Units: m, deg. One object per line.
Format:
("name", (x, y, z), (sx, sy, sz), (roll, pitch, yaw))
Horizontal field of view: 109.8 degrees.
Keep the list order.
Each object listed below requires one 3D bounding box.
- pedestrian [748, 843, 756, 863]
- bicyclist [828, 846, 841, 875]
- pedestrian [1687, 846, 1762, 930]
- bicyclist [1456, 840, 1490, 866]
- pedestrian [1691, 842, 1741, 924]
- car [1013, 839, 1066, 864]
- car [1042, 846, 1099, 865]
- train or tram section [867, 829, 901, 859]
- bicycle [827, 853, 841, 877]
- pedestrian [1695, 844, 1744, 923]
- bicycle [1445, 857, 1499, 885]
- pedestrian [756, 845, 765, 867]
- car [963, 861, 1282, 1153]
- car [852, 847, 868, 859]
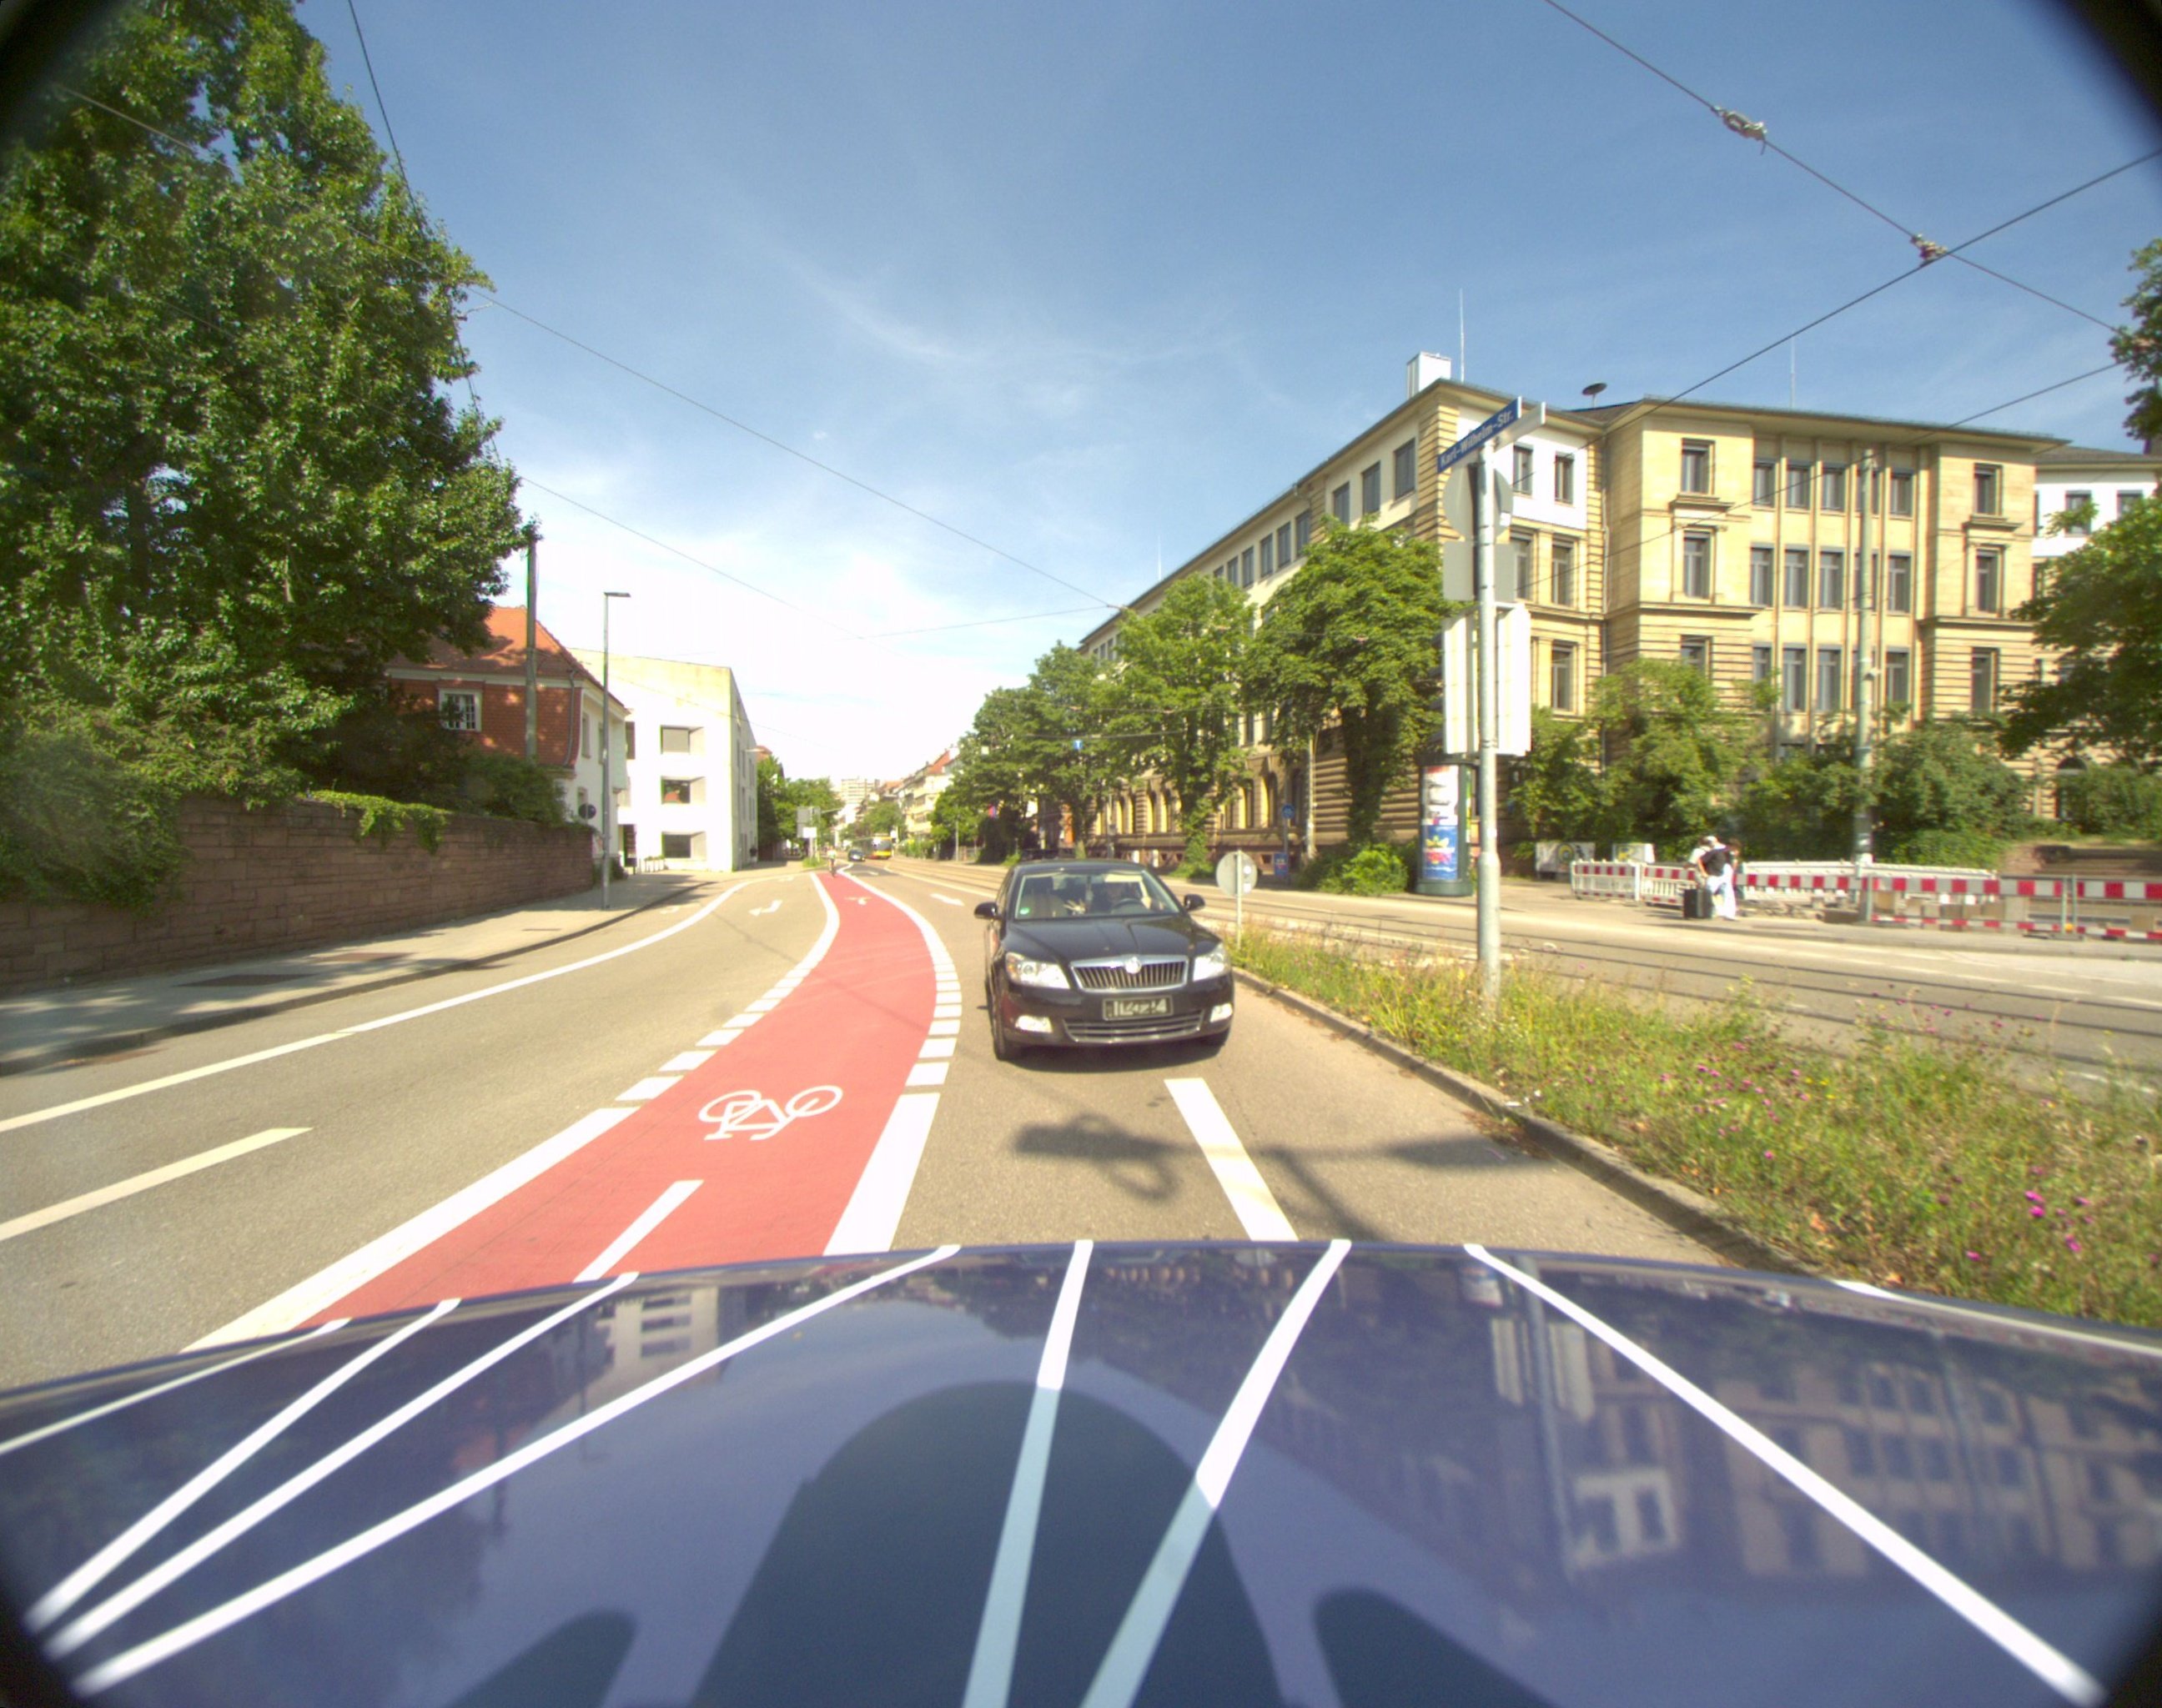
("pedestrian", (-25.666, -0.081, 59.265), (0.550, 1.559, 0.929), (-1, 1, -21))
("bicyclist", (-13.376, 0.332, 41.240), (0.589, 1.539, 0.930), (-3, 2, -17))
("pedestrian", (13.077, 0.661, 15.472), (0.938, 1.646, 0.845), (0, 1, 23))
("bicyclist", (14.183, -0.053, 27.514), (0.684, 0.922, 0.867), (-1, 1, -24))
("pedestrian", (13.856, 0.614, 16.595), (0.586, 1.740, 0.743), (-1, 2, -42))
("car", (-3.463, -0.219, 63.786), (4.004, 2.002, 1.996), (0, 1, -21))
("car", (-0.834, 0.098, 58.737), (4.004, 1.455, 1.996), (0, 1, -21))
("train or tram section", (-27.448, -1.356, 105.285), (3.219, 3.838, 14.560), (0, 1, -20))
("bicycle", (-13.349, 0.580, 41.122), (0.687, 1.215, 2.183), (0, 1, -18))
("pedestrian", (14.327, 0.641, 17.049), (0.586, 1.740, 0.743), (-1, 2, -43))
("bicycle", (14.161, 0.601, 27.551), (0.702, 0.941, 1.662), (-1, 1, -25))
("pedestrian", (-25.092, 0.128, 59.523), (0.651, 1.697, 0.710), (-1, 1, -21))
("car", (-0.049, 0.888, 6.777), (1.865, 1.510, 4.823), (0, 1, -8))
("car", (-26.078, -0.129, 89.696), (1.804, 1.368, 4.270), (0, 1, -16))
